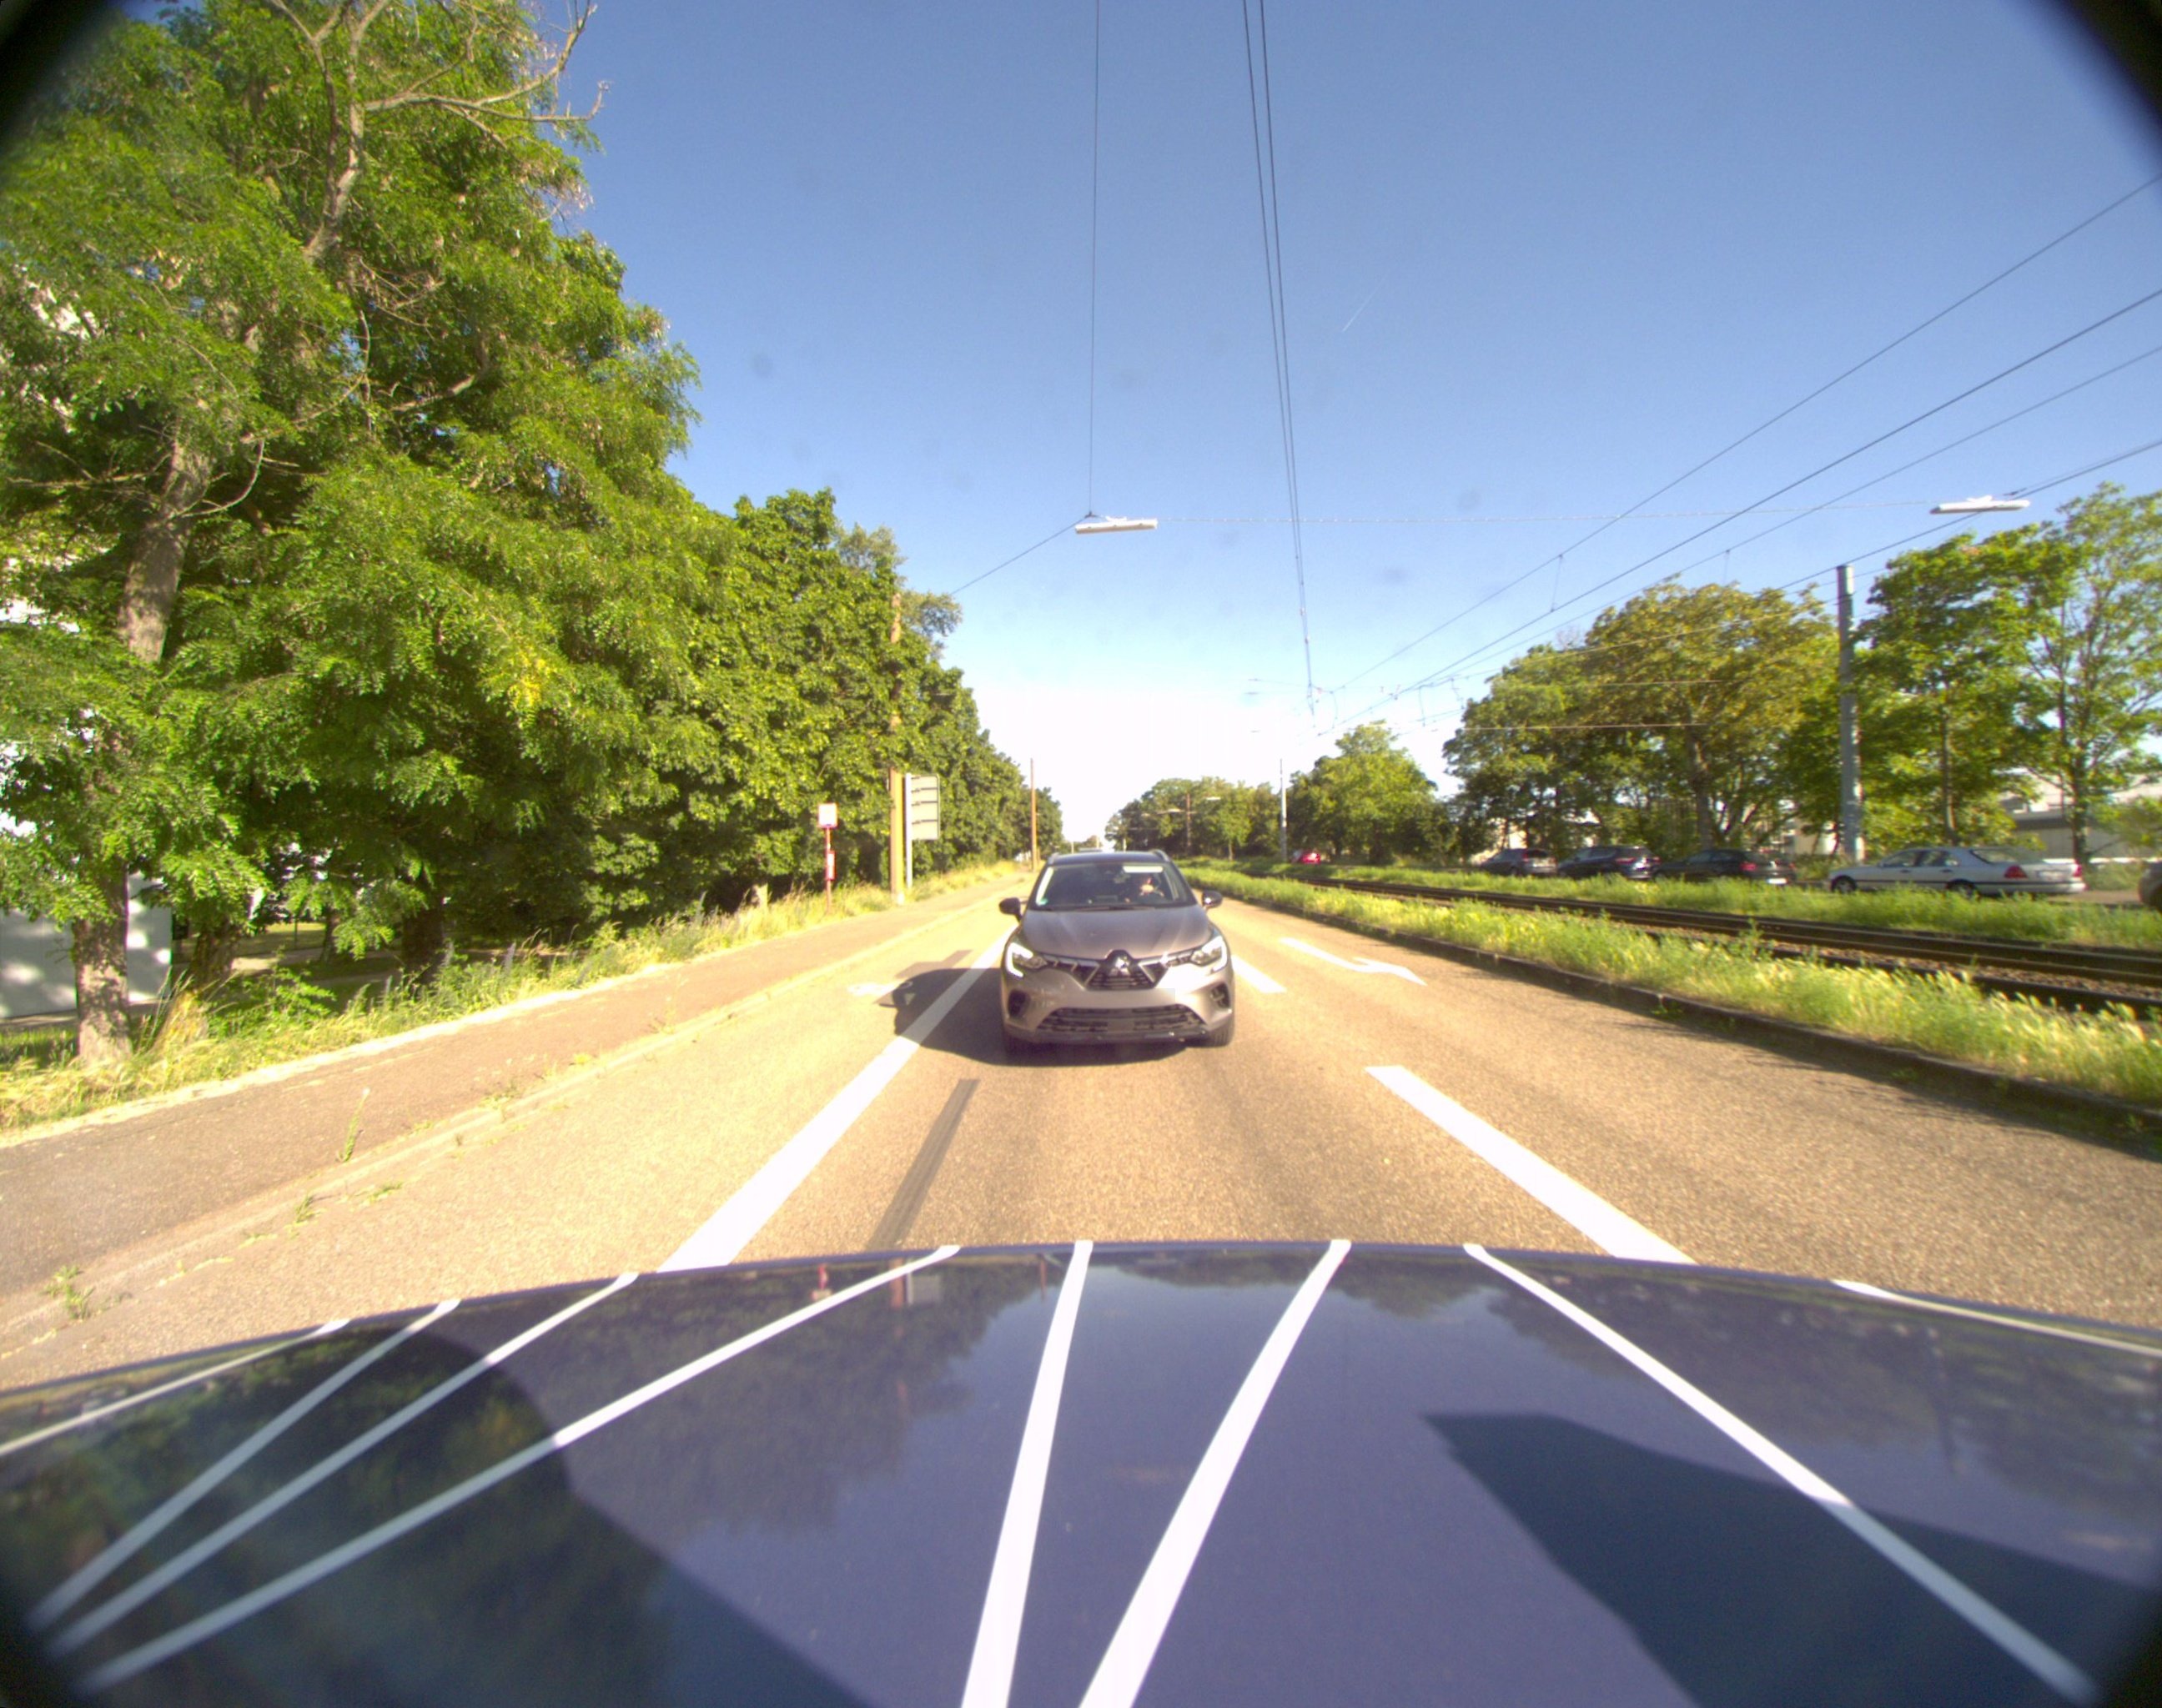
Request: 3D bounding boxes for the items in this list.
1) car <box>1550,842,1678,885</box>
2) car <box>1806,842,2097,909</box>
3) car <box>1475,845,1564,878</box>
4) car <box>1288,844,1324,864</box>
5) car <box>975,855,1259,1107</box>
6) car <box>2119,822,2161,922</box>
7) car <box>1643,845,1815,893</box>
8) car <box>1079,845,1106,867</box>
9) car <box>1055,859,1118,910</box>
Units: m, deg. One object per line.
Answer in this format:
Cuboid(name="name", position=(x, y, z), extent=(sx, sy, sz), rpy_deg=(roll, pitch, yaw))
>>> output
Cuboid(name="car", position=(21.359, 0.360, 30.723), extent=(1.999, 1.565, 4.434), rpy_deg=(-2, 0, -1))
Cuboid(name="car", position=(21.385, 0.486, 19.062), extent=(1.933, 1.429, 4.695), rpy_deg=(-2, 0, 1))
Cuboid(name="car", position=(21.467, 0.333, 37.432), extent=(1.740, 1.486, 4.327), rpy_deg=(-3, 1, -1))
Cuboid(name="car", position=(20.984, -0.005, 71.108), extent=(2.009, 1.692, 4.466), rpy_deg=(-1, 0, -1))
Cuboid(name="car", position=(0.250, 0.852, 7.267), extent=(1.822, 1.589, 4.413), rpy_deg=(-2, 0, 0))
Cuboid(name="car", position=(21.272, 0.311, 12.397), extent=(2.202, 1.880, 4.792), rpy_deg=(-2, 0, 3))
Cuboid(name="car", position=(21.392, 0.468, 25.364), extent=(1.998, 1.429, 4.415), rpy_deg=(-2, 0, 1))
Cuboid(name="car", position=(0.898, 0.167, 59.832), extent=(1.998, 1.577, 4.000), rpy_deg=(-2, 0, 0))
Cuboid(name="car", position=(0.195, 0.919, 24.795), extent=(1.832, 1.477, 4.000), rpy_deg=(-2, 0, 1))
